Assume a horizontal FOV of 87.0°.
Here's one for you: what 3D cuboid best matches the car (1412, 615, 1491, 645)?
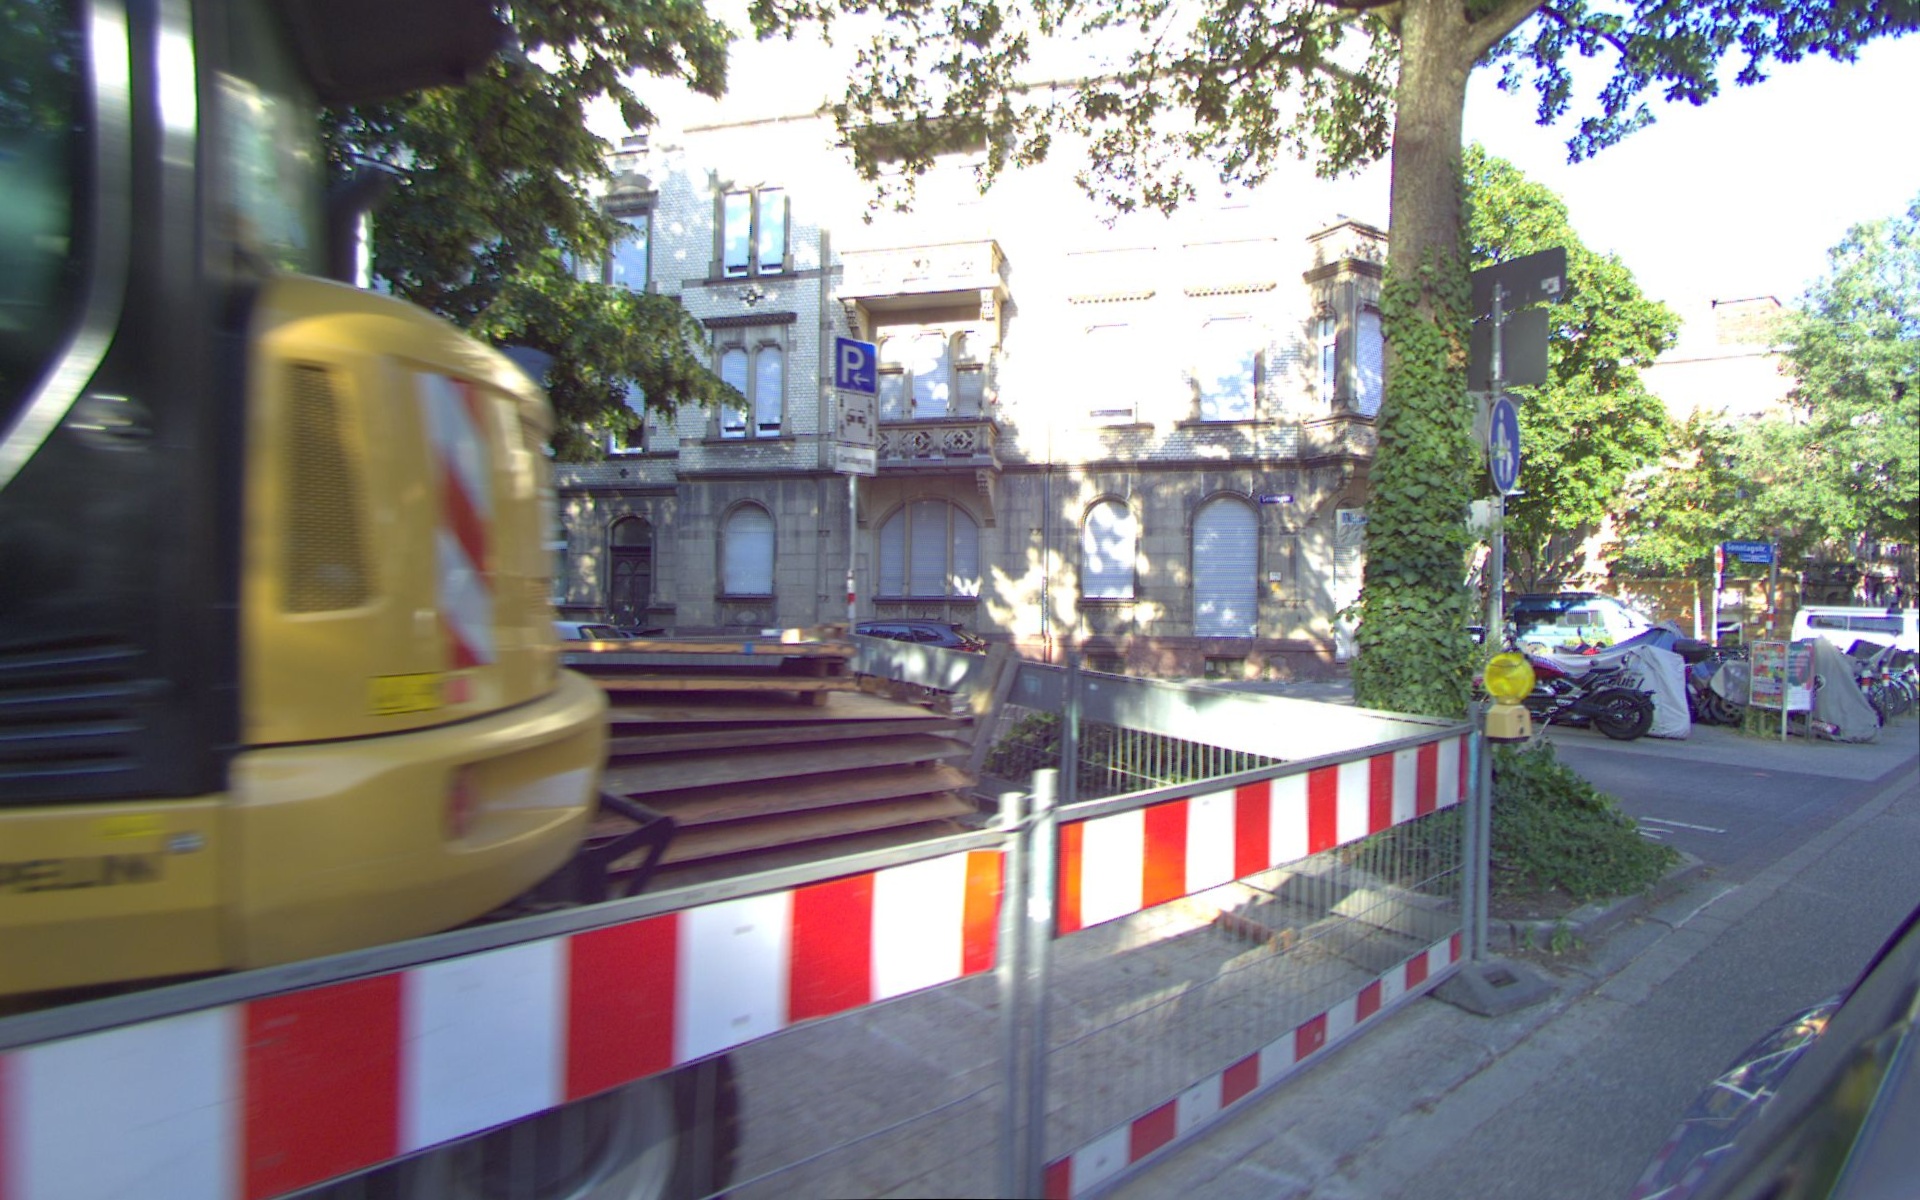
[{"bbox_3d":[29.331,1.787,60.476,3.978,1.743,1.757,-1,-2,38],"label":"car"}]

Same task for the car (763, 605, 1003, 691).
[{"bbox_3d":[-1.453,0.927,19.873,4.298,1.394,1.994,-2,3,12],"label":"car"}]

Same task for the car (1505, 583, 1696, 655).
[{"bbox_3d":[24.581,0.673,39.031,5.895,2.570,2.342,0,-1,44],"label":"car"}]

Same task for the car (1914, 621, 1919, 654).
[{"bbox_3d":[45.545,1.755,44.997,1.899,1.474,4.379,2,0,-40],"label":"car"}]

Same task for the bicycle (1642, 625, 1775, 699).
[{"bbox_3d":[13.661,1.101,18.507,1.924,1.262,0.389,0,-1,44],"label":"bicycle"}]

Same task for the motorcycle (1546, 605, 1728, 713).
[{"bbox_3d":[10.546,0.865,15.832,2.283,1.551,0.744,0,-1,44],"label":"motorcycle"}]

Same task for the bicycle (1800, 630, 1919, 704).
[{"bbox_3d":[16.666,1.201,18.545,1.924,1.262,0.638,0,-1,44],"label":"bicycle"}]

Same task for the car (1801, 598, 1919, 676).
[{"bbox_3d":[27.057,1.044,28.456,2.068,2.123,4.983,2,-1,-40],"label":"car"}]

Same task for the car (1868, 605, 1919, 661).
[{"bbox_3d":[36.441,1.247,37.055,1.966,2.039,4.621,2,-1,-42],"label":"car"}]

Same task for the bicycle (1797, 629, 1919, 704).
[{"bbox_3d":[16.312,1.175,18.205,1.924,1.262,0.298,0,-1,44],"label":"bicycle"}]

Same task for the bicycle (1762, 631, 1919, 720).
[{"bbox_3d":[13.458,1.120,15.424,1.924,1.262,0.298,0,-1,44],"label":"bicycle"}]

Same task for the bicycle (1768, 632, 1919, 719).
[{"bbox_3d":[13.934,1.151,15.913,1.906,1.262,0.298,0,-2,44],"label":"bicycle"}]

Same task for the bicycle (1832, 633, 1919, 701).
[{"bbox_3d":[17.443,1.249,18.789,0.436,1.141,1.821,2,1,-41],"label":"bicycle"}]

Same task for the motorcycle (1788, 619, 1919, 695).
[{"bbox_3d":[18.152,1.114,20.504,0.682,1.379,2.027,2,0,-40],"label":"motorcycle"}]

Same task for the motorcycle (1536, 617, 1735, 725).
[{"bbox_3d":[9.391,0.939,14.200,0.643,1.358,2.293,1,-1,-29],"label":"motorcycle"}]

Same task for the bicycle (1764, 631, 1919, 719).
[{"bbox_3d":[13.688,1.127,15.663,1.924,1.262,0.298,0,-1,44],"label":"bicycle"}]

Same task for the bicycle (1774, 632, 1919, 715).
[{"bbox_3d":[14.665,1.187,16.676,1.924,1.262,0.298,0,-1,44],"label":"bicycle"}]

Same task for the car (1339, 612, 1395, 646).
[{"bbox_3d":[20.209,1.416,50.397,1.838,1.602,4.229,1,-1,12],"label":"car"}]

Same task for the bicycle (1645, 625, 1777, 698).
[{"bbox_3d":[13.842,1.107,18.694,1.924,1.262,0.472,0,-1,44],"label":"bicycle"}]

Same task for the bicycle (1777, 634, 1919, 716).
[{"bbox_3d":[14.896,1.229,16.898,1.924,1.262,0.298,0,-1,44],"label":"bicycle"}]

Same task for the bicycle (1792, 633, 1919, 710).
[{"bbox_3d":[15.862,1.235,17.766,1.924,1.262,0.298,0,-1,44],"label":"bicycle"}]

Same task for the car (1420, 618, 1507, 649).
[{"bbox_3d":[26.899,1.769,54.081,3.973,1.585,1.759,-1,-2,35],"label":"car"}]

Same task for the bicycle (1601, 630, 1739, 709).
[{"bbox_3d":[12.344,1.181,17.637,1.924,1.262,0.472,0,-1,44],"label":"bicycle"}]

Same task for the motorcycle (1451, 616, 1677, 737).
[{"bbox_3d":[7.627,0.907,12.859,2.361,1.358,0.927,0,-1,41],"label":"motorcycle"}]

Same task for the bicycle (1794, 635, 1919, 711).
[{"bbox_3d":[16.090,1.274,17.995,1.924,1.262,0.298,0,-1,44],"label":"bicycle"}]

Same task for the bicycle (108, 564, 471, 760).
[{"bbox_3d":[-5.132,0.420,7.889,1.021,1.302,2.118,2,0,37],"label":"bicycle"}]

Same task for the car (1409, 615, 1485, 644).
[{"bbox_3d":[30.316,1.824,63.012,3.978,1.743,1.757,-1,-2,38],"label":"car"}]

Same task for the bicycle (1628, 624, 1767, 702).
[{"bbox_3d":[12.919,1.078,17.781,1.924,1.262,0.472,0,-1,44],"label":"bicycle"}]

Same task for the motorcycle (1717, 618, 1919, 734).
[{"bbox_3d":[11.531,0.971,13.674,0.921,1.430,1.942,1,-1,-13],"label":"motorcycle"}]

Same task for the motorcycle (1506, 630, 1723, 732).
[{"bbox_3d":[8.745,1.029,13.664,0.951,1.195,2.293,1,-1,-27],"label":"motorcycle"}]

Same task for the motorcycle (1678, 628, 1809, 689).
[{"bbox_3d":[16.407,1.195,21.225,0.888,1.122,2.026,2,0,-42],"label":"motorcycle"}]

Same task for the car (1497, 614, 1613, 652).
[{"bbox_3d":[26.088,1.422,44.428,1.832,1.529,4.058,2,-1,-44],"label":"car"}]

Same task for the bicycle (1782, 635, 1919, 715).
[{"bbox_3d":[15.152,1.242,17.123,1.924,1.262,0.298,0,-1,44],"label":"bicycle"}]

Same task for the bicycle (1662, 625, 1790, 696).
[{"bbox_3d":[14.655,1.132,19.402,1.924,1.262,0.472,0,-1,44],"label":"bicycle"}]

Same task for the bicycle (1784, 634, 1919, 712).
[{"bbox_3d":[15.593,1.242,17.604,1.924,1.262,0.298,0,-1,44],"label":"bicycle"}]

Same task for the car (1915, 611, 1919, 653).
[{"bbox_3d":[49.416,1.600,48.503,2.121,1.963,5.102,-3,2,-40],"label":"car"}]

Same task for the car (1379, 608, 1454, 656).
[{"bbox_3d":[16.943,1.141,37.753,1.755,1.631,4.199,1,0,14],"label":"car"}]

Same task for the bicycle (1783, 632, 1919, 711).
[{"bbox_3d":[15.367,1.205,17.362,1.924,1.262,0.298,0,-1,44],"label":"bicycle"}]

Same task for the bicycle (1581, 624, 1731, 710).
[{"bbox_3d":[11.056,1.036,16.139,1.924,1.262,0.472,0,-1,44],"label":"bicycle"}]

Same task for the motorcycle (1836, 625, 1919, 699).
[{"bbox_3d":[18.012,1.189,19.164,0.888,1.301,2.027,2,1,-42],"label":"motorcycle"}]

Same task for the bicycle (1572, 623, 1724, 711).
[{"bbox_3d":[10.692,1.009,15.792,1.924,1.262,0.445,0,-1,44],"label":"bicycle"}]

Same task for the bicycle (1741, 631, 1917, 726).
[{"bbox_3d":[12.581,1.107,14.706,1.924,1.262,0.298,0,-1,44],"label":"bicycle"}]

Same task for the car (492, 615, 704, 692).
[{"bbox_3d":[-7.669,1.136,21.538,3.943,1.394,1.765,-2,3,16],"label":"car"}]

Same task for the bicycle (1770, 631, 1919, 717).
[{"bbox_3d":[14.172,1.157,16.152,1.924,1.262,0.298,0,-1,44],"label":"bicycle"}]

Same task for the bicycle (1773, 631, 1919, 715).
[{"bbox_3d":[14.448,1.157,16.424,1.924,1.262,0.298,0,-1,44],"label":"bicycle"}]

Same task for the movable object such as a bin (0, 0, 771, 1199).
[{"bbox_3d":[-2.114,0.000,1.785,3.046,2.734,2.003,1,-1,-27],"label":"movable object such as a bin"}]

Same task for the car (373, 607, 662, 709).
[{"bbox_3d":[-7.032,0.959,16.232,3.940,1.432,1.872,-3,-5,14],"label":"car"}]

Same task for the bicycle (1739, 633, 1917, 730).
[{"bbox_3d":[12.362,1.125,14.473,1.924,1.262,0.298,0,-1,44],"label":"bicycle"}]

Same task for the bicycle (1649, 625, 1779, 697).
[{"bbox_3d":[14.181,1.118,19.071,1.924,1.262,0.472,0,-1,44],"label":"bicycle"}]
